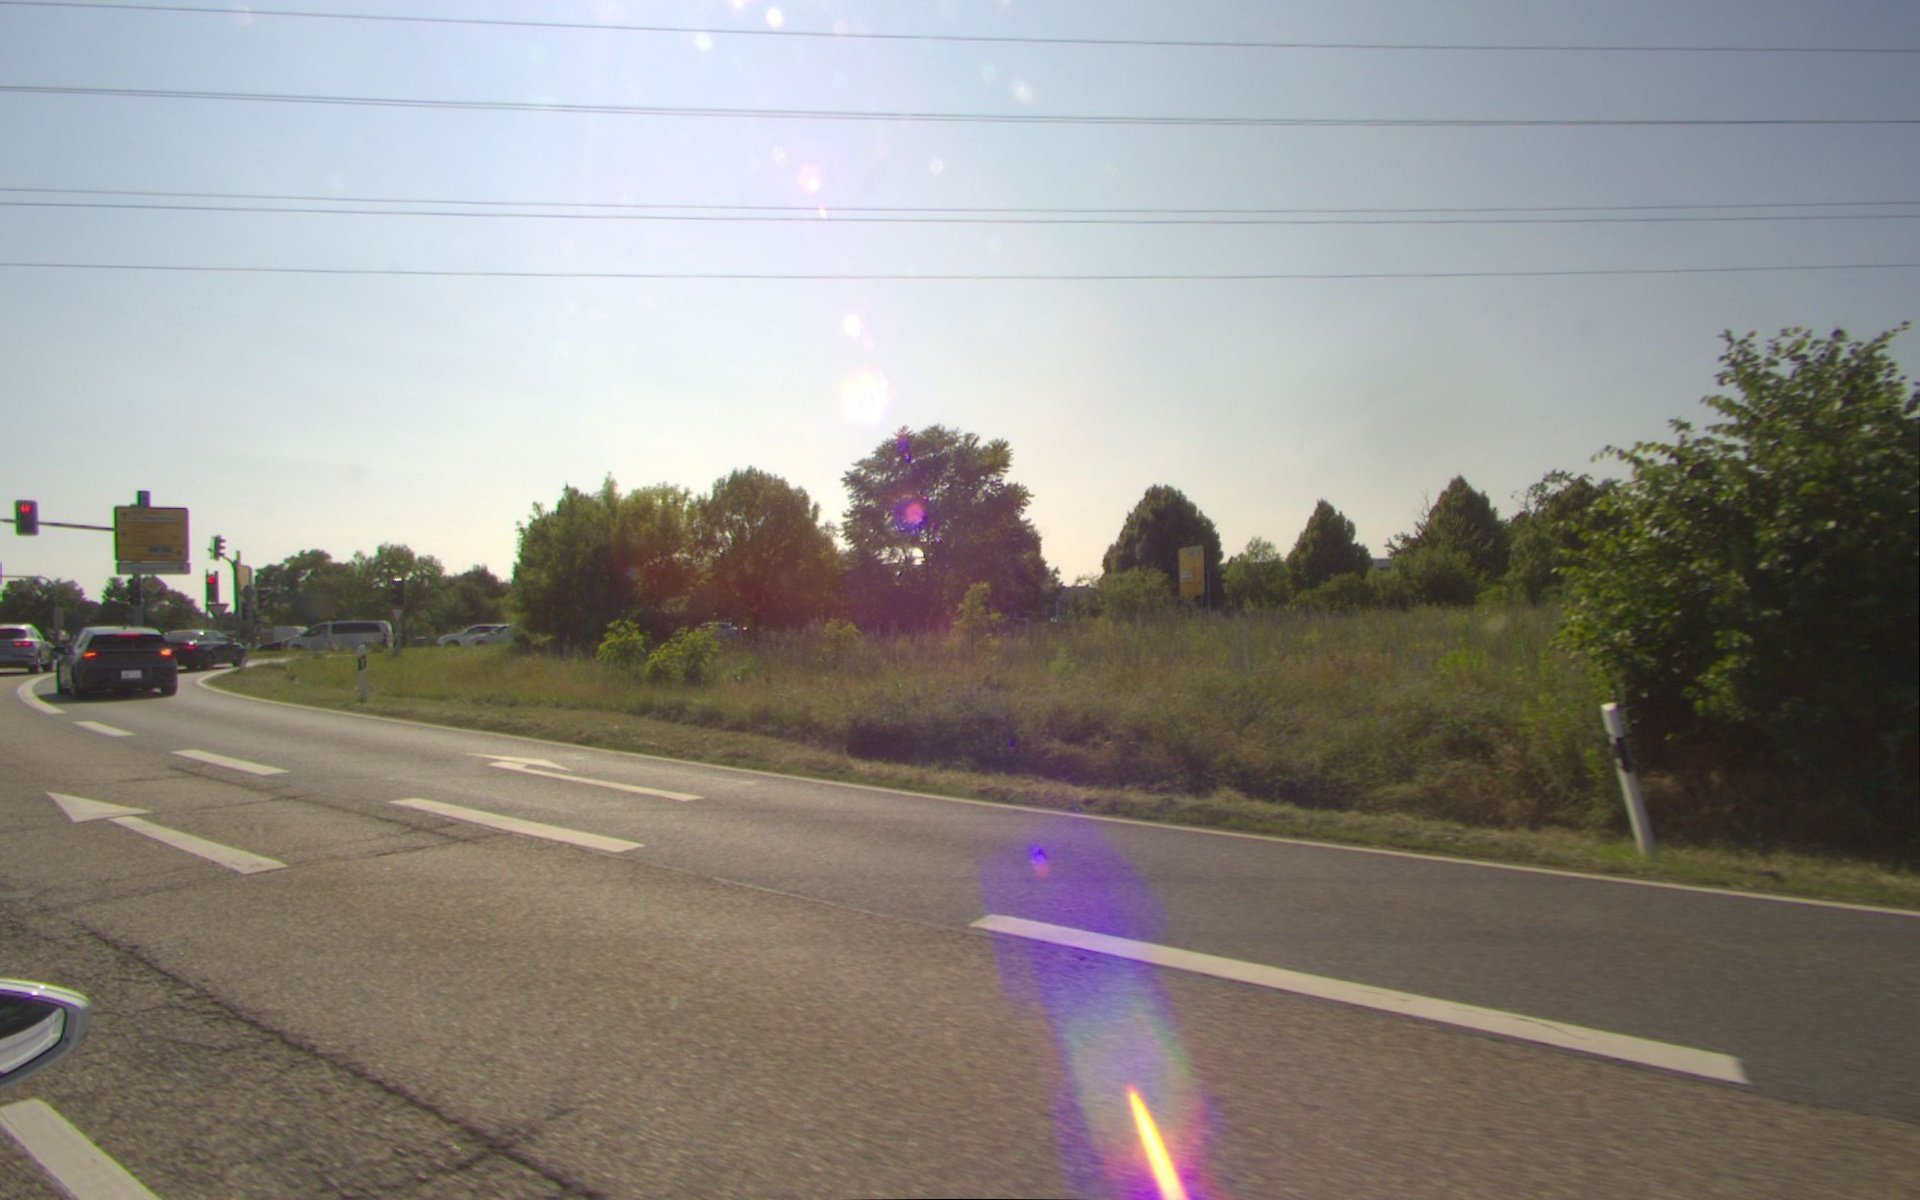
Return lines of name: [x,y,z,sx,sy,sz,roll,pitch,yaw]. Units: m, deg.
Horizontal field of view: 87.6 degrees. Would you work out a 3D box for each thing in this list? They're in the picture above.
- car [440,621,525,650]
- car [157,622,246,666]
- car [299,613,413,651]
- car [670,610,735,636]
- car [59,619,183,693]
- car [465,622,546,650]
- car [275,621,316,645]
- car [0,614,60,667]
car: [-27.718,2.048,58.256,4.260,1.539,1.804,-1,-1,-19]
car: [-26.819,1.525,35.517,1.620,1.404,3.986,-1,0,-24]
car: [-32.164,1.720,53.491,4.862,1.943,1.996,1,-1,-19]
car: [-15.969,1.416,62.062,3.812,1.539,1.804,-1,-1,-18]
car: [-19.321,1.217,23.003,4.056,1.537,1.763,-1,-1,44]
car: [-25.064,1.961,55.321,3.843,1.484,1.720,0,-1,-18]
car: [-61.766,3.081,93.108,1.902,2.164,4.633,1,-2,-17]
car: [-31.973,1.368,33.961,1.617,1.698,3.726,1,-2,-34]
